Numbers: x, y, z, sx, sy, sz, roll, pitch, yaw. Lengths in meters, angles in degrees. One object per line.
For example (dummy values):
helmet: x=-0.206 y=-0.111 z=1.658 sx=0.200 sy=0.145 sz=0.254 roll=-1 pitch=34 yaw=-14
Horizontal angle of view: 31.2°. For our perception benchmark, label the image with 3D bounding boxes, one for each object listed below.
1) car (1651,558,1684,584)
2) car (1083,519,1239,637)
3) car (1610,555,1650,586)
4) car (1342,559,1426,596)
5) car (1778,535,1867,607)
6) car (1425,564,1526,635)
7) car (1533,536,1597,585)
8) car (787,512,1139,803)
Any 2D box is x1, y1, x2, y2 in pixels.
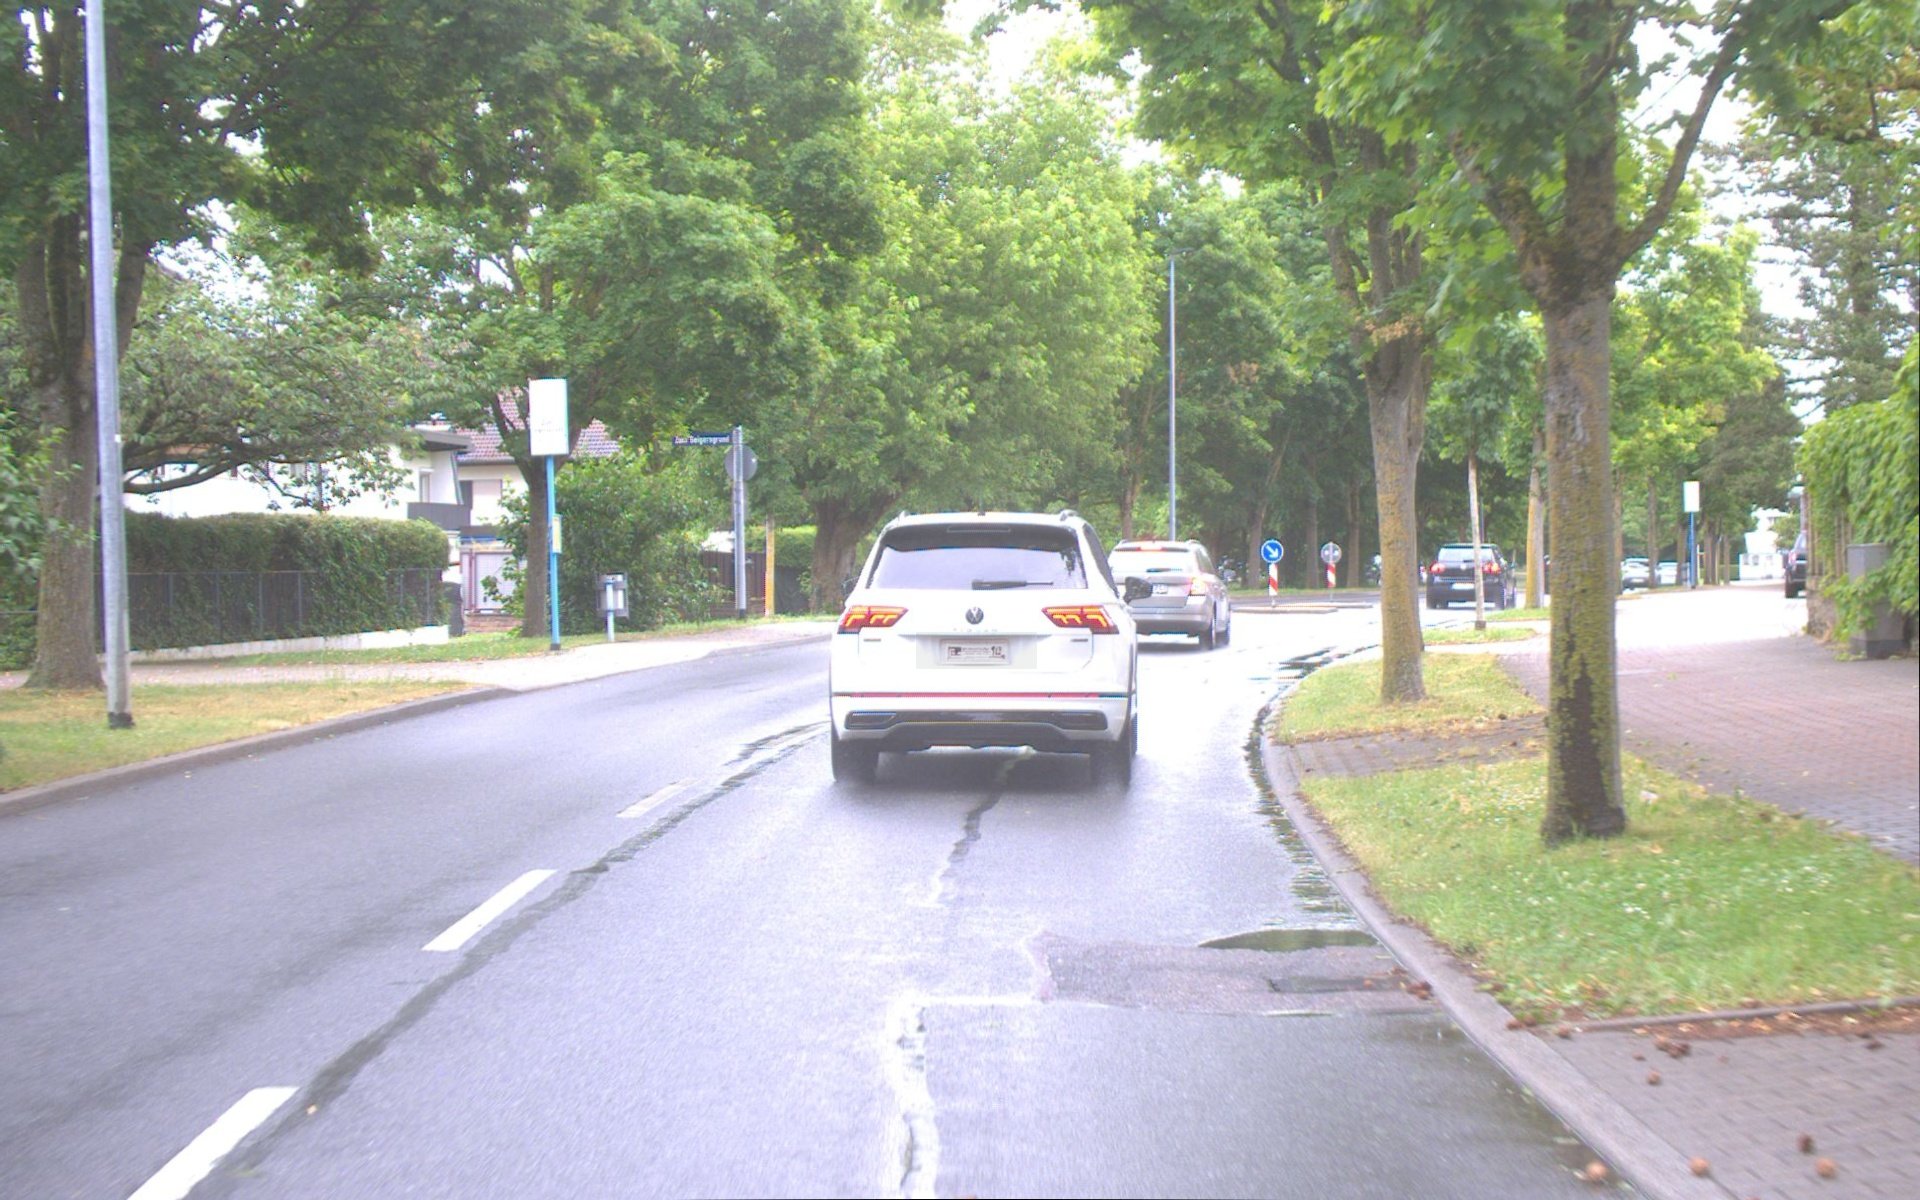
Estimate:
car: x=37.460 y=-1.537 z=181.985 sx=1.638 sy=1.322 sz=3.998 roll=1 pitch=1 yaw=12
car: x=2.807 y=-0.302 z=47.265 sx=1.841 sy=1.482 sz=3.999 roll=-2 pitch=0 yaw=7
car: x=30.059 y=-1.326 z=154.161 sx=1.638 sy=1.322 sz=3.998 roll=1 pitch=1 yaw=12
car: x=17.772 y=-0.948 z=144.179 sx=1.841 sy=1.477 sz=4.001 roll=-1 pitch=0 yaw=-20
car: x=18.781 y=-0.639 z=74.764 sx=1.772 sy=1.493 sz=4.541 roll=-1 pitch=0 yaw=15
car: x=11.596 y=-0.032 z=77.125 sx=1.842 sy=1.482 sz=3.998 roll=2 pitch=1 yaw=14
car: x=19.501 y=-1.270 z=110.892 sx=1.841 sy=1.482 sz=3.999 roll=-2 pitch=0 yaw=8
car: x=0.105 y=0.295 z=21.822 sx=1.997 sy=1.626 sz=4.000 roll=1 pitch=1 yaw=3
